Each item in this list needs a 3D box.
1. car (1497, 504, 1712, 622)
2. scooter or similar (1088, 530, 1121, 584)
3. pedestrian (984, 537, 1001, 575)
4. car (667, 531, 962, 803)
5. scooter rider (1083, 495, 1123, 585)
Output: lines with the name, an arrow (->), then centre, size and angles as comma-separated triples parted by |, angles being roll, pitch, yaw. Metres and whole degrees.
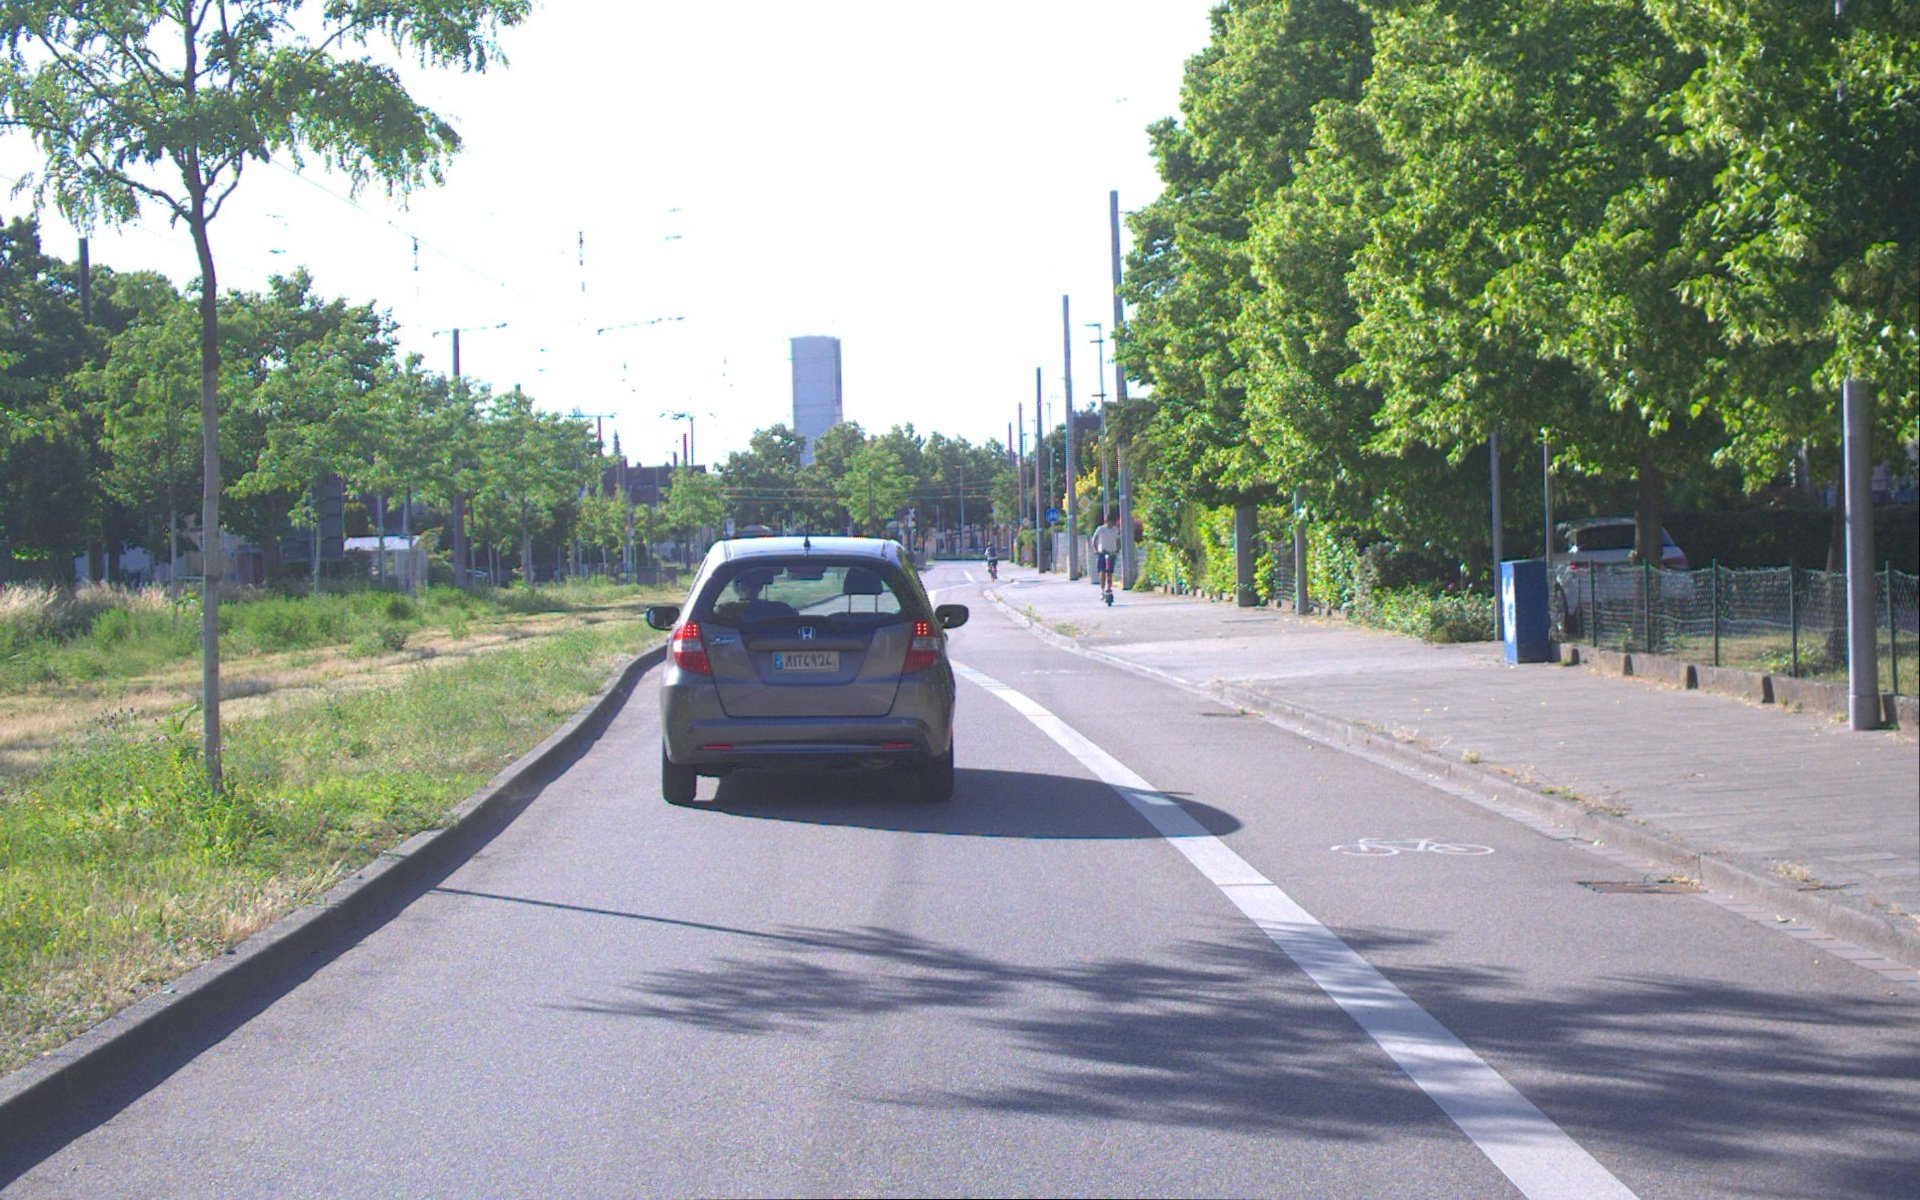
car -> 8.259, -0.478, 44.359 | 1.774, 1.382, 3.871 | -3, 1, -4
scooter or similar -> 3.084, -0.914, 73.438 | 0.539, 1.114, 1.417 | -2, 1, -2
pedestrian -> 1.584, -2.136, 166.428 | 0.722, 1.794, 1.165 | -2, 1, -2
car -> -0.877, 0.338, 20.639 | 1.624, 1.494, 3.457 | 0, 1, -3
scooter rider -> 3.057, -1.286, 73.545 | 0.716, 1.894, 0.935 | -2, 0, -2
